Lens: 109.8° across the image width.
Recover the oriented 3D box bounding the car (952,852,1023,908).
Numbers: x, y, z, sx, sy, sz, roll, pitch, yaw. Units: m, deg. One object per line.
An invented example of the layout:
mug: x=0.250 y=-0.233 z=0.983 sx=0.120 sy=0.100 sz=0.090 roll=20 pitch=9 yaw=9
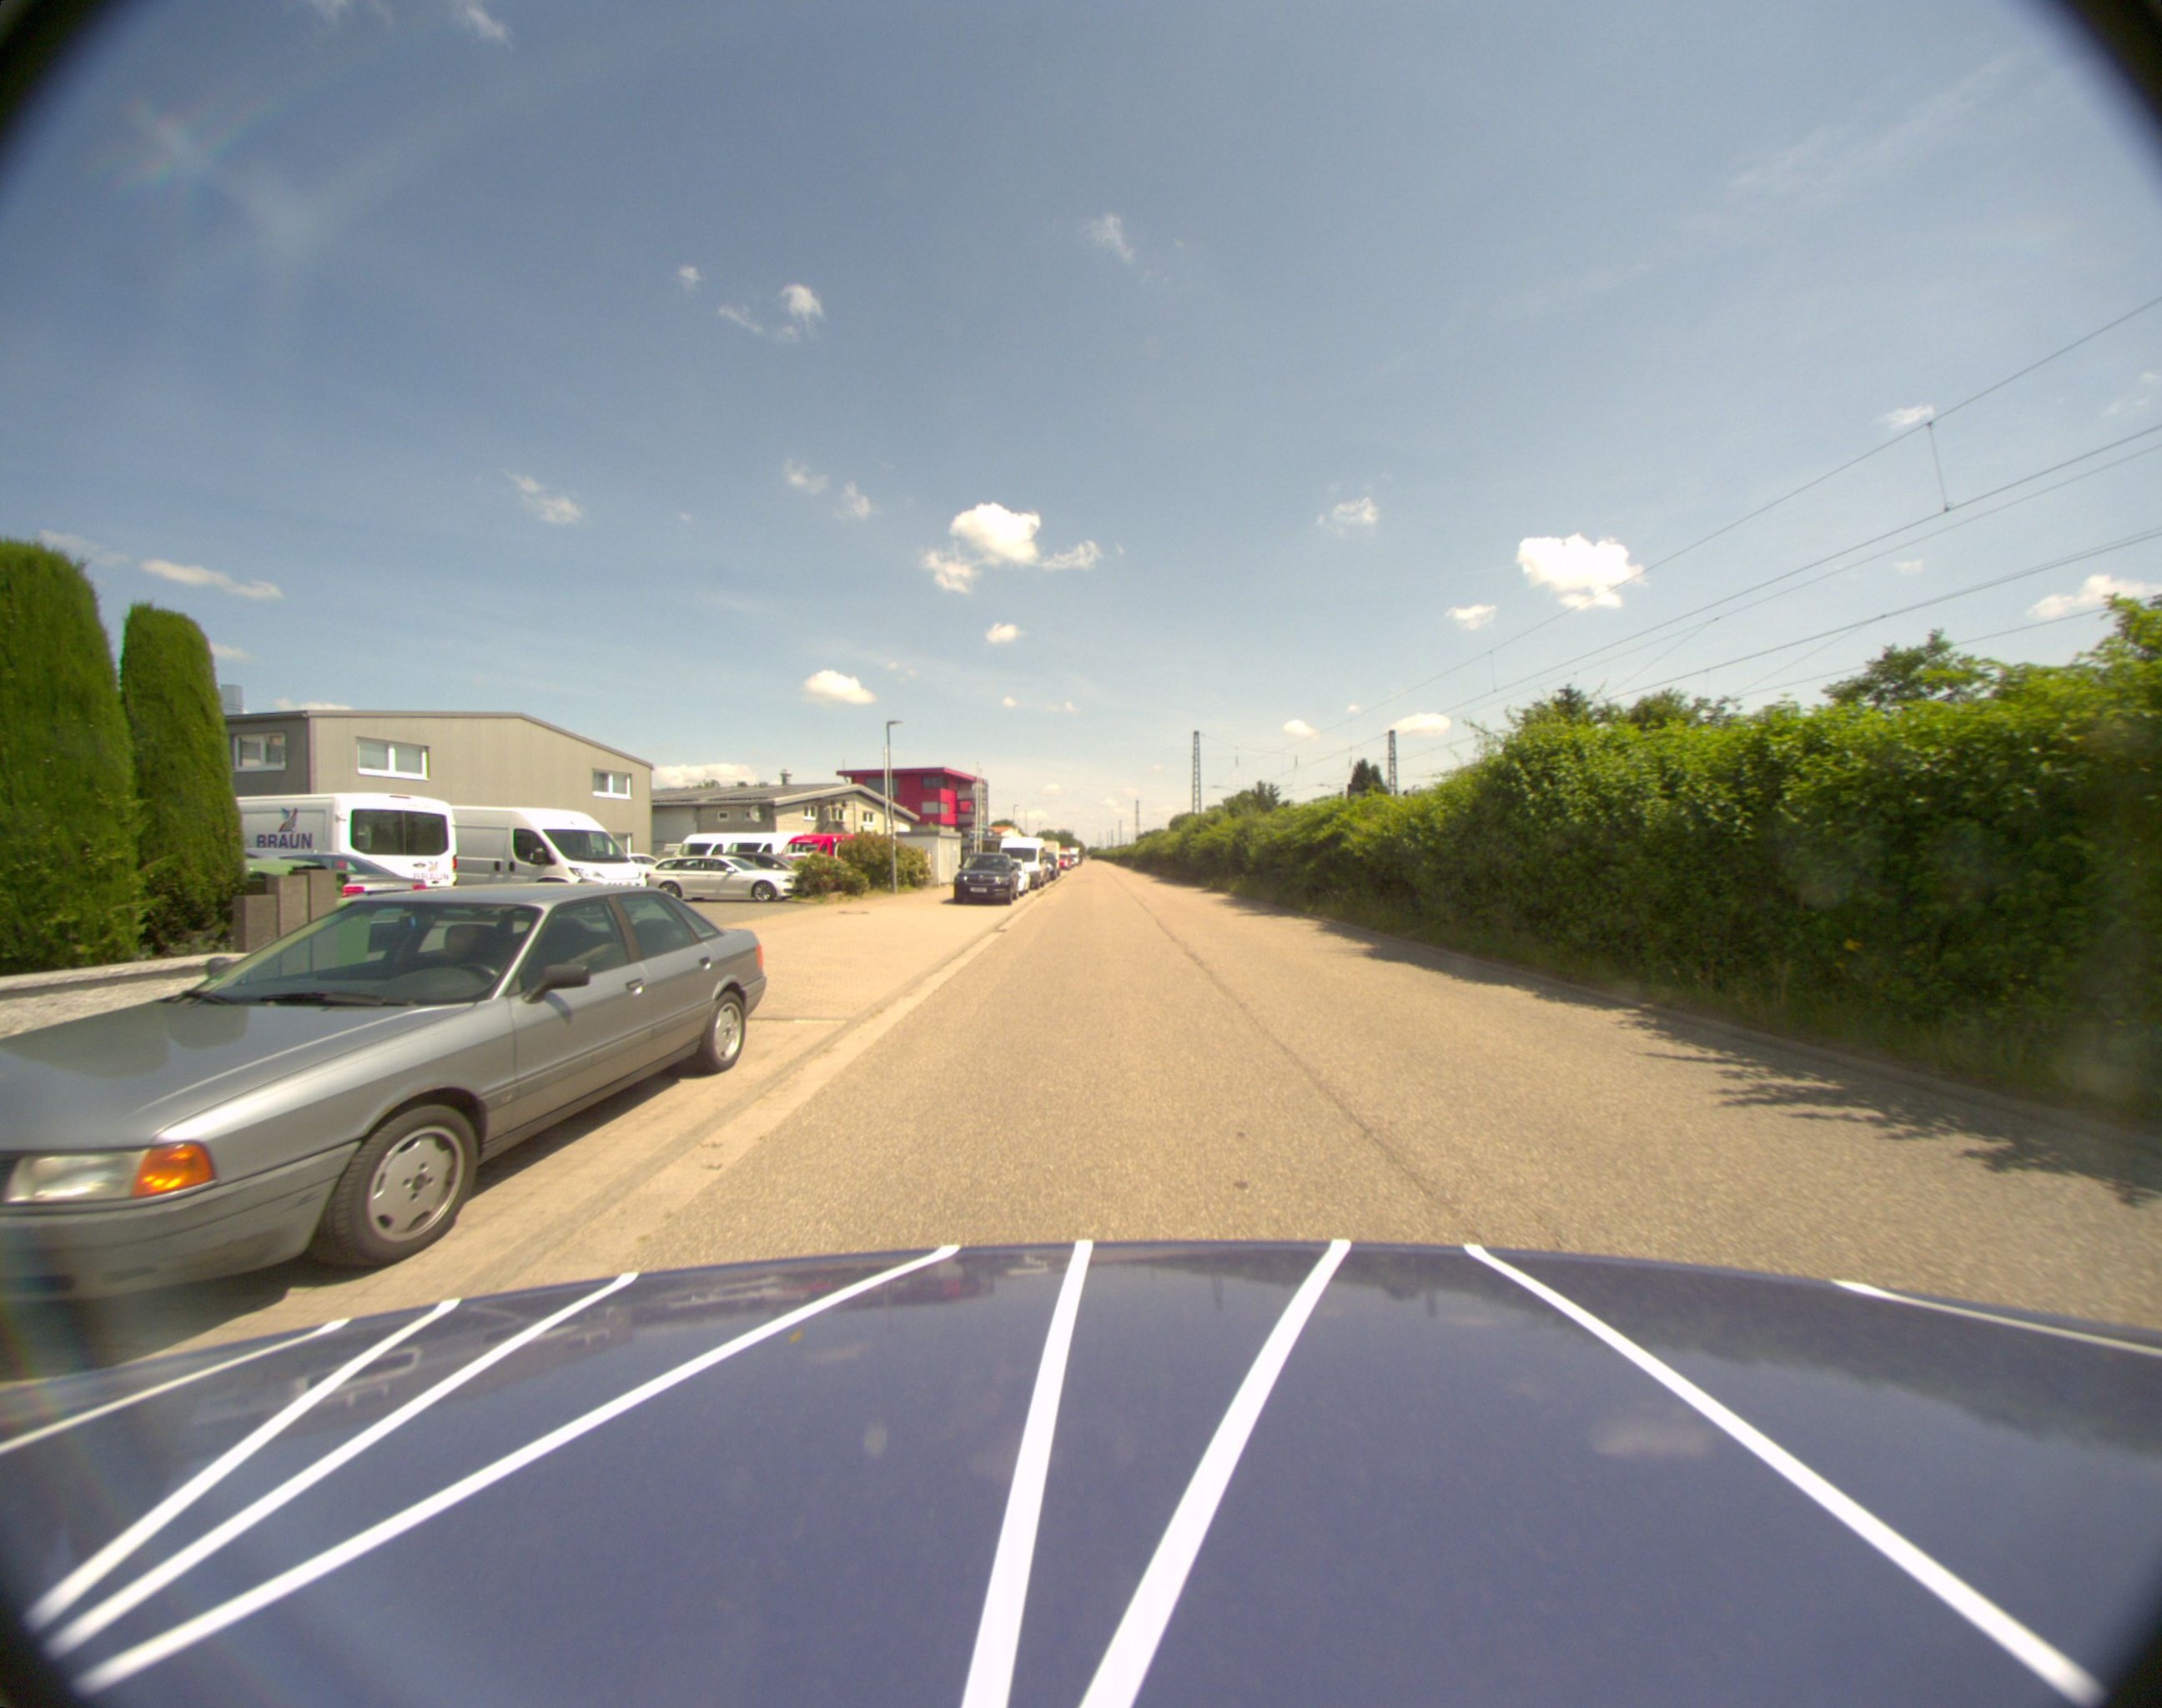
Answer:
car: x=-3.021 y=0.800 z=25.338 sx=1.805 sy=1.692 sz=4.000 roll=1 pitch=0 yaw=1

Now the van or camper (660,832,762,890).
van or camper: x=-18.485 y=0.320 z=38.278 sx=2.104 sy=2.752 sz=4.901 roll=0 pitch=0 yaw=10

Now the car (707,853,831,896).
car: x=-11.044 y=0.698 z=27.067 sx=3.702 sy=1.478 sz=1.714 roll=0 pitch=0 yaw=2

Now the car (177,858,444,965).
car: x=-10.954 y=0.780 z=10.899 sx=2.638 sy=1.441 sz=1.169 roll=0 pitch=1 yaw=1

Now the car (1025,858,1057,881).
car: x=-2.613 y=1.007 z=50.307 sx=1.805 sy=1.361 sz=3.756 roll=-3 pitch=0 yaw=1

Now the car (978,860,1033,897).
car: x=-3.017 y=0.953 z=31.133 sx=1.805 sy=1.410 sz=3.757 roll=1 pitch=0 yaw=1

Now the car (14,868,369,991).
car: x=-10.112 y=0.821 z=8.751 sx=2.709 sy=1.304 sz=1.169 roll=0 pitch=0 yaw=1

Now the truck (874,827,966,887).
truck: x=-7.602 y=0.130 z=36.718 sx=2.381 sy=2.673 sz=5.787 roll=0 pitch=0 yaw=10

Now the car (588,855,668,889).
car: x=-19.375 y=0.743 z=32.644 sx=1.453 sy=1.397 sz=2.830 roll=0 pitch=0 yaw=10

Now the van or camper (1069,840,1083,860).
van or camper: x=-0.908 y=-0.787 z=136.109 sx=2.333 sy=3.497 sz=4.770 roll=-2 pitch=1 yaw=1

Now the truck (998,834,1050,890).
truck: x=-2.745 y=0.357 z=37.661 sx=1.998 sy=2.550 sz=5.289 roll=0 pitch=0 yaw=2

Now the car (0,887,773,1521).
car: x=-3.330 y=0.992 z=4.047 sx=1.618 sy=1.415 sz=4.195 roll=1 pitch=0 yaw=1

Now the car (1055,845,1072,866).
car: x=-1.992 y=0.138 z=86.215 sx=1.742 sy=2.258 sz=4.019 roll=-1 pitch=1 yaw=1

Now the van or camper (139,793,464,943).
van or camper: x=-14.676 y=0.227 z=14.380 sx=5.098 sy=2.519 sz=2.002 roll=0 pitch=1 yaw=15

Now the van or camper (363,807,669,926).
van or camper: x=-12.604 y=0.248 z=17.073 sx=5.832 sy=2.423 sz=2.136 roll=0 pitch=0 yaw=11

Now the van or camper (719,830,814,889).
van or camper: x=-15.675 y=0.248 z=38.206 sx=2.095 sy=2.752 sz=4.901 roll=0 pitch=0 yaw=10

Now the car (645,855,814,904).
car: x=-11.116 y=0.777 z=24.215 sx=4.605 sy=1.478 sz=1.714 roll=0 pitch=0 yaw=2

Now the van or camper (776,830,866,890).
van or camper: x=-12.643 y=0.285 z=37.346 sx=2.037 sy=2.752 sz=4.901 roll=0 pitch=0 yaw=10

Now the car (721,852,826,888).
car: x=-12.881 y=0.665 z=31.986 sx=3.702 sy=1.478 sz=1.714 roll=0 pitch=0 yaw=2

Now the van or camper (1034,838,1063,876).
van or camper: x=-2.548 y=0.212 z=60.437 sx=1.998 sy=2.854 sz=4.395 roll=-1 pitch=1 yaw=1
